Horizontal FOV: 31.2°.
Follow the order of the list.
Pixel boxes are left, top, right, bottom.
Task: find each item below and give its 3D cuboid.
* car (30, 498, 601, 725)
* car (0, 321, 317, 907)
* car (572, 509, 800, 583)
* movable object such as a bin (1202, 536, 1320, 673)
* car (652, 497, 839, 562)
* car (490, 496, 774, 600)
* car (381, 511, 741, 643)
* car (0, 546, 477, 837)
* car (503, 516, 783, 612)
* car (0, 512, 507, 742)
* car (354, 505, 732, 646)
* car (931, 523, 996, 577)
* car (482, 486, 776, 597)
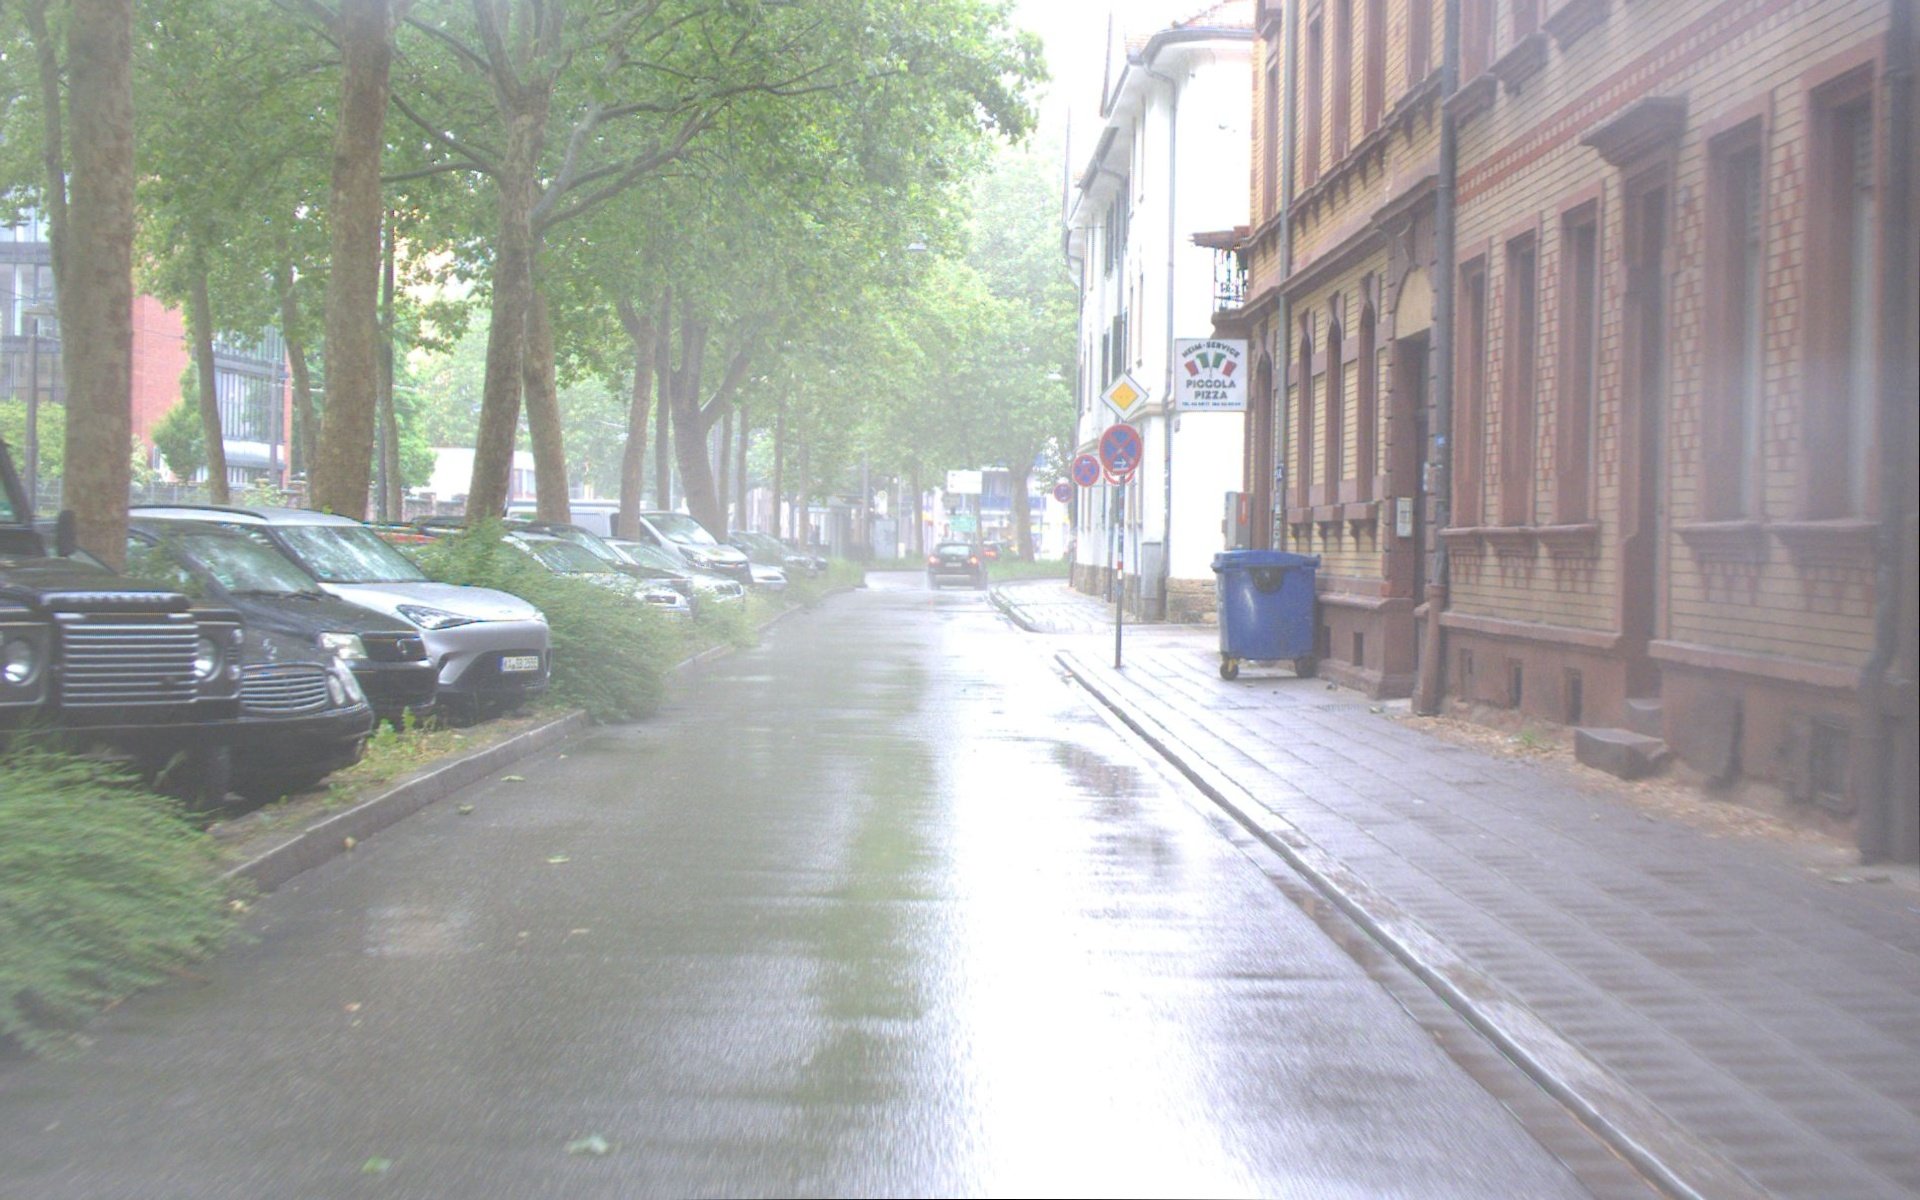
[{"bbox_3d":[-4.934,0.029,26.223,4.059,1.532,1.832,2,3,30],"label":"car"},{"bbox_3d":[-5.282,0.003,15.240,4.654,2.275,2.008,1,2,33],"label":"car"},{"bbox_3d":[-5.757,-1.135,72.116,4.553,1.477,1.772,0,2,30],"label":"car"},{"bbox_3d":[3.107,0.032,35.616,1.021,1.297,1.367,-3,2,-1],"label":"movable object such as a bin"},{"bbox_3d":[-5.561,-1.849,89.055,4.464,1.591,1.921,1,2,26],"label":"car"},{"bbox_3d":[-5.100,-0.830,53.498,4.061,1.494,1.745,2,3,23],"label":"car"},{"bbox_3d":[-5.287,-0.336,45.515,4.410,1.654,1.927,1,2,28],"label":"car"},{"bbox_3d":[-4.987,0.397,17.974,4.652,1.321,1.844,1,2,27],"label":"car"},{"bbox_3d":[-5.219,-0.615,56.531,4.308,1.432,1.745,2,3,26],"label":"car"},{"bbox_3d":[-5.053,0.145,23.542,3.503,1.462,1.641,0,2,21],"label":"car"},{"bbox_3d":[-5.213,-0.295,42.849,4.411,1.640,1.869,-1,1,31],"label":"car"},{"bbox_3d":[0.104,-1.626,110.688,1.993,1.634,4.001,1,2,-1],"label":"car"},{"bbox_3d":[-6.151,-1.084,63.700,5.124,1.970,2.099,0,2,30],"label":"car"}]
